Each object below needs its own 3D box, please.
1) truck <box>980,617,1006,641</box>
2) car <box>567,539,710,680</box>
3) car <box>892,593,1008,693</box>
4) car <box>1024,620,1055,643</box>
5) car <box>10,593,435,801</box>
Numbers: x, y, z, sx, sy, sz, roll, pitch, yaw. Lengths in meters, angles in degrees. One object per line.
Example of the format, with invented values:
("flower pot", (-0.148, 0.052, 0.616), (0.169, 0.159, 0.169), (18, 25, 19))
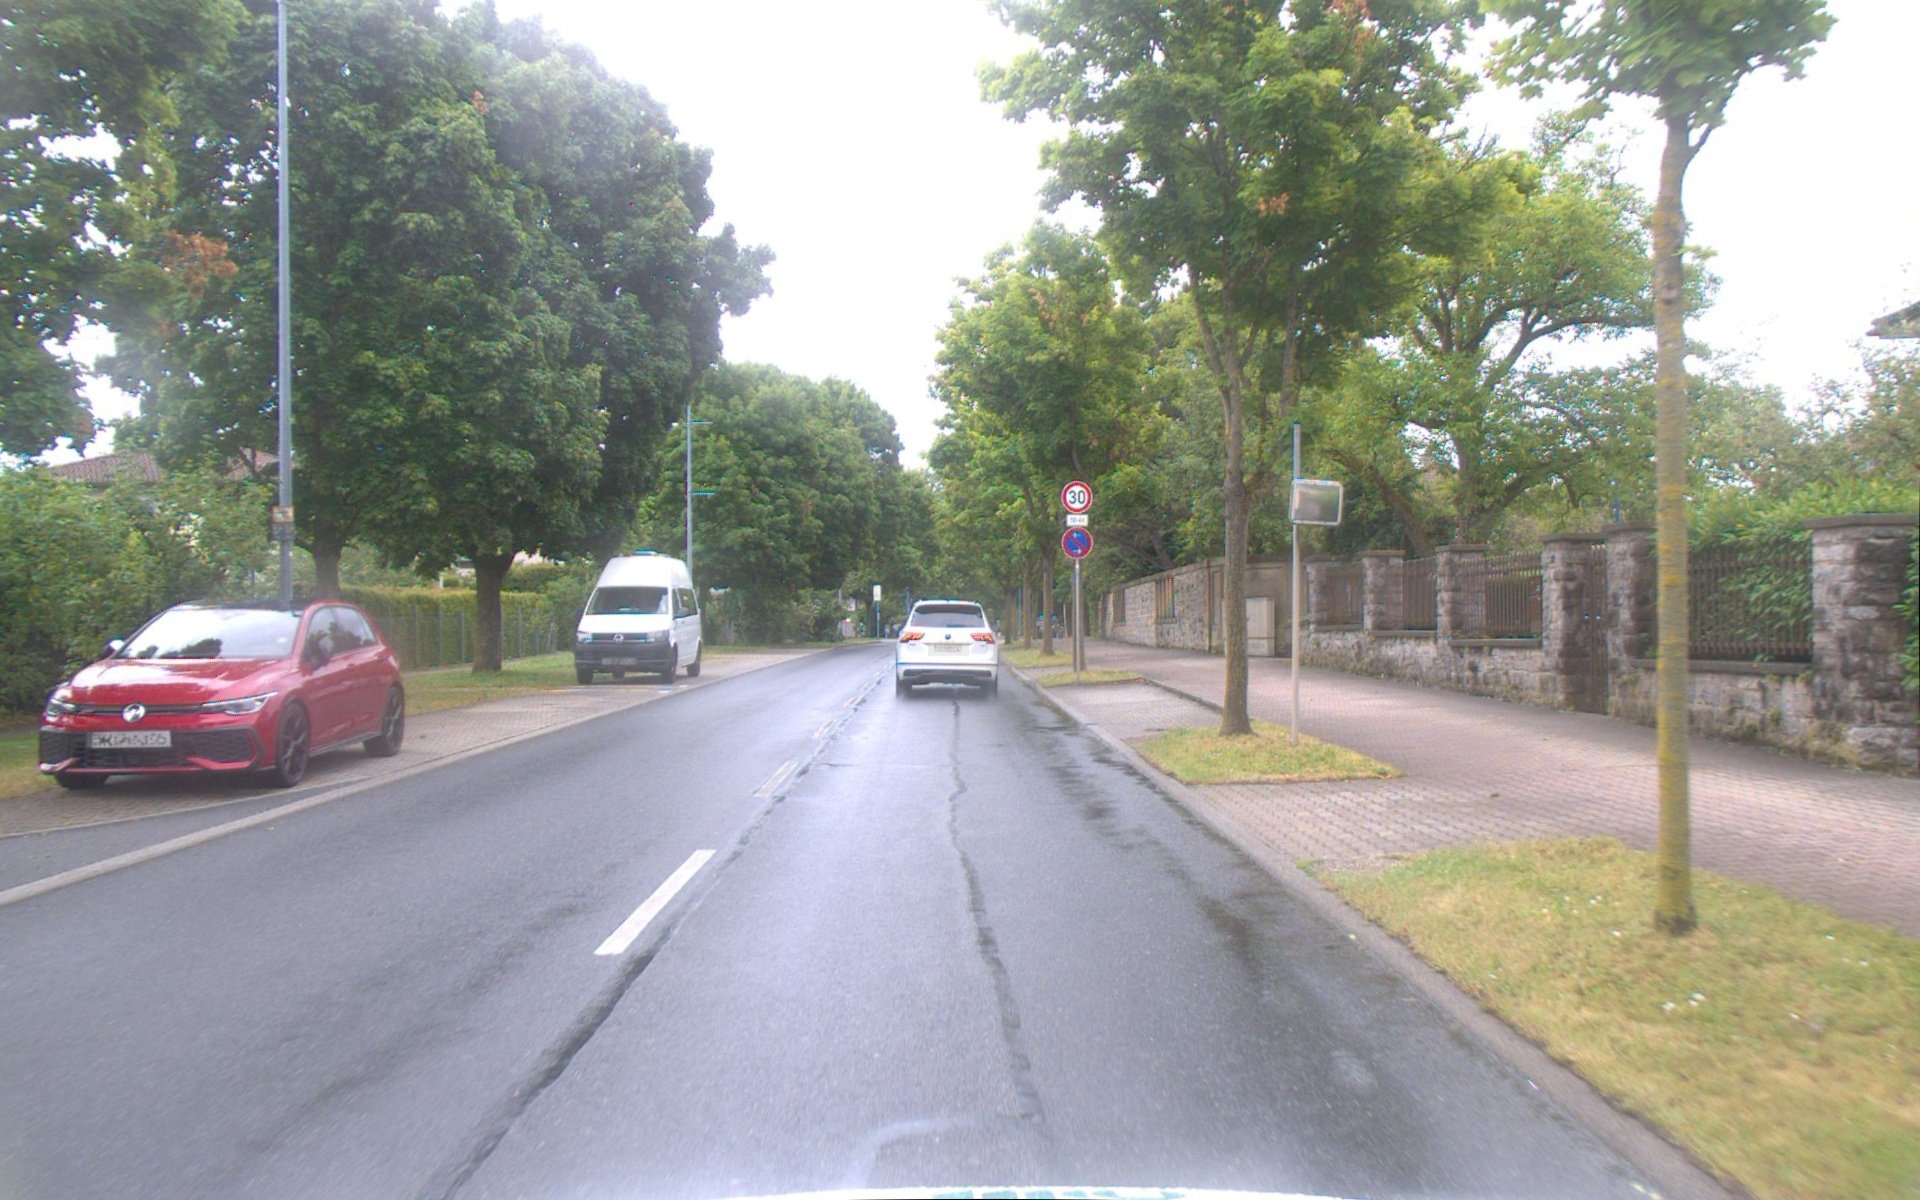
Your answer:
("truck", (3.773, 3.263, 186.327), (2.236, 2.643, 5.878), (-1, -2, 8))
("car", (-6.375, 0.189, 33.387), (1.953, 2.606, 5.231), (-1, 0, -2))
("car", (-0.194, 0.736, 30.003), (1.956, 1.660, 3.999), (1, 0, -1))
("car", (5.750, 2.298, 119.772), (1.801, 1.513, 4.003), (-2, -2, 8))
("car", (-5.984, 0.691, 14.035), (1.806, 1.491, 4.248), (0, 0, -2))
